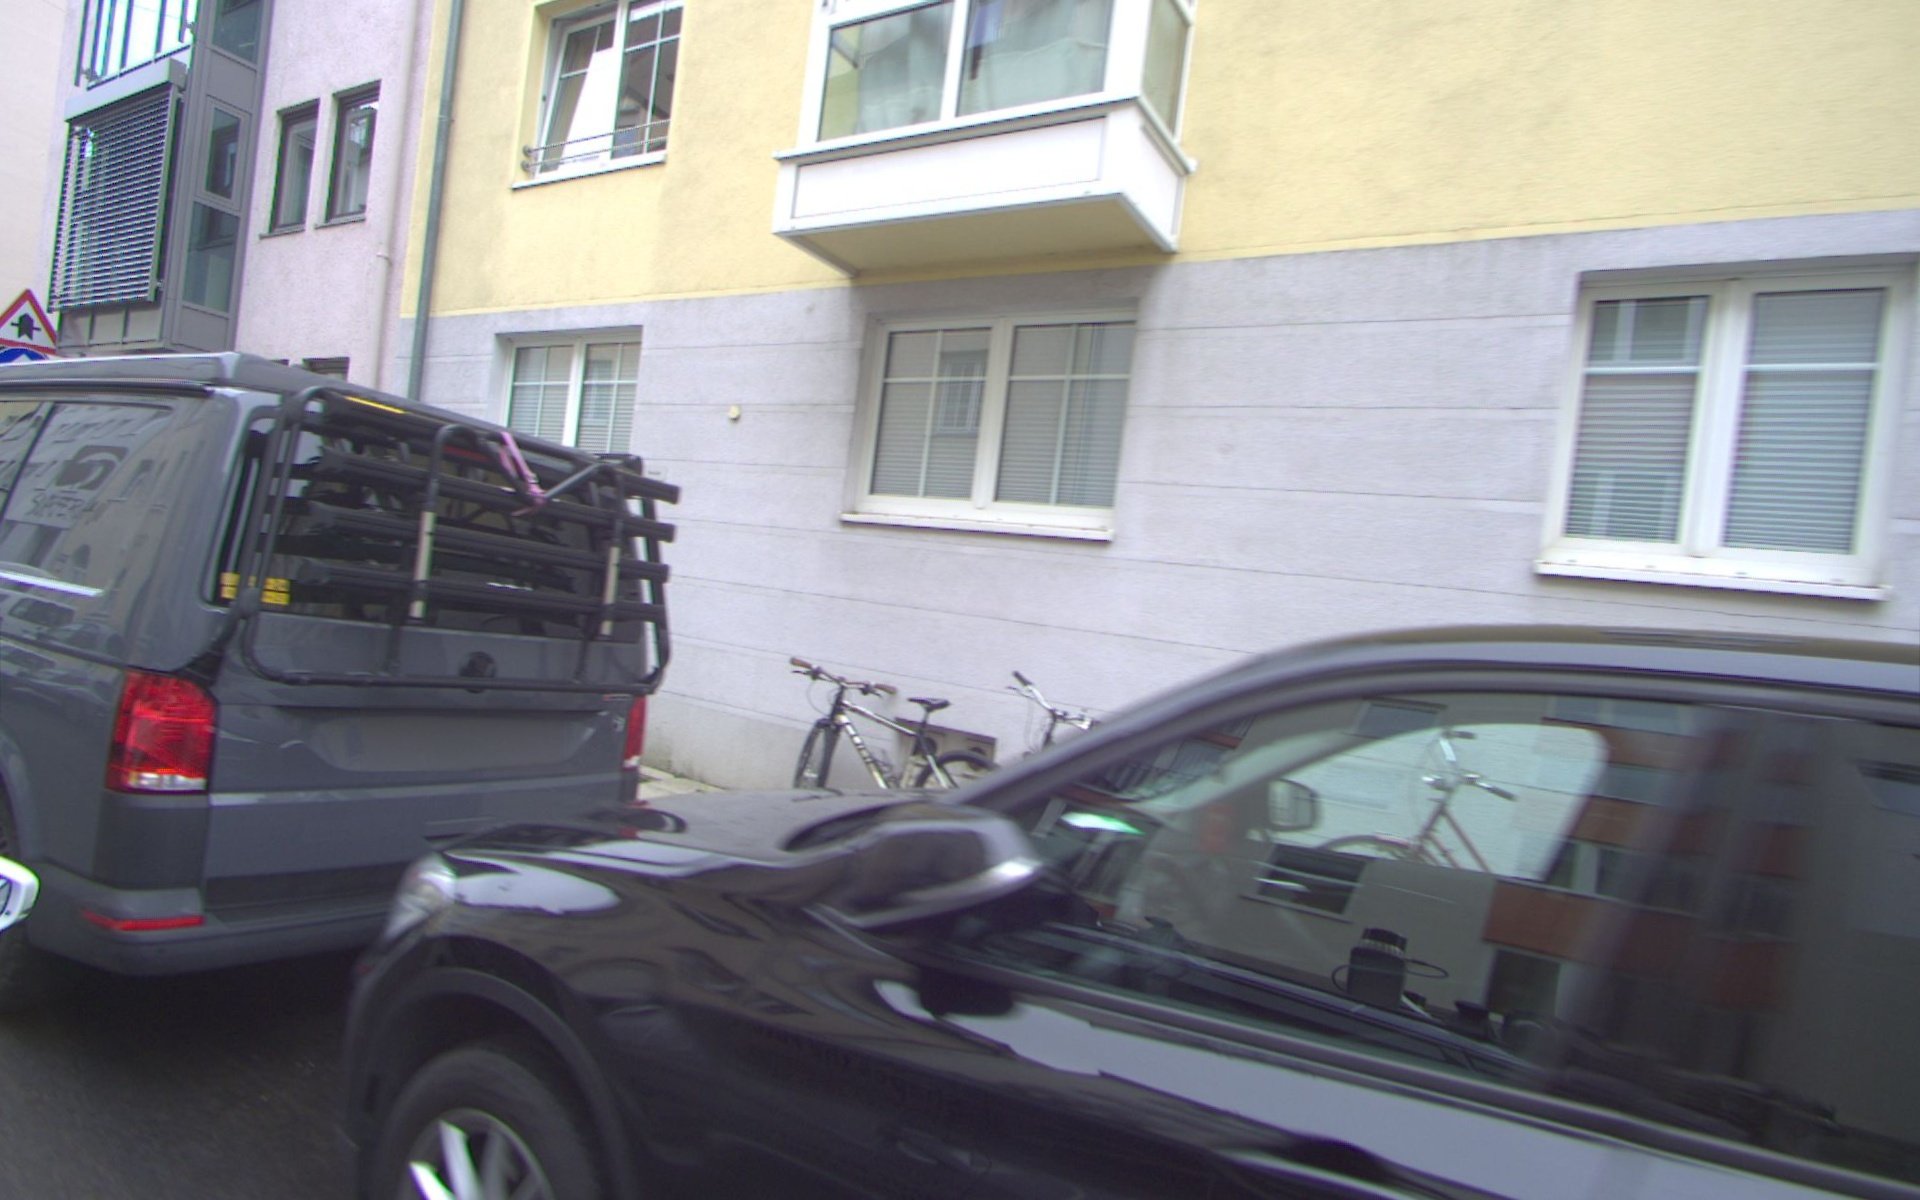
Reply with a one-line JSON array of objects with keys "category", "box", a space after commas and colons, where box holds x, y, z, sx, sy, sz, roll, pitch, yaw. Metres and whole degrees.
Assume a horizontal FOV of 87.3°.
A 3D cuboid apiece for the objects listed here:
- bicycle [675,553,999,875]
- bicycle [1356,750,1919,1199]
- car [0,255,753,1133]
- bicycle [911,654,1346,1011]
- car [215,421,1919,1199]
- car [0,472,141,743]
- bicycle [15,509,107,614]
[{"category": "bicycle", "box": [-0.777, 0.594, 5.936, 1.837, 1.489, 0.433, 10, 1, 32]}, {"category": "bicycle", "box": [2.595, 1.505, 3.741, 1.837, 1.489, 0.433, 10, 1, 32]}, {"category": "car", "box": [-3.540, 0.081, 4.414, 5.021, 2.037, 1.877, 6, -2, 31]}, {"category": "bicycle", "box": [0.772, 1.018, 4.908, 1.837, 1.176, 0.635, 10, 1, 32]}, {"category": "car", "box": [0.854, 0.785, 1.707, 4.157, 1.705, 1.837, 7, -2, 31]}, {"category": "car", "box": [-7.784, -0.183, 6.937, 4.251, 1.640, 1.837, 7, -2, 31]}, {"category": "bicycle", "box": [-11.120, -0.486, 12.431, 1.517, 1.136, 0.357, 7, 1, 32]}]
